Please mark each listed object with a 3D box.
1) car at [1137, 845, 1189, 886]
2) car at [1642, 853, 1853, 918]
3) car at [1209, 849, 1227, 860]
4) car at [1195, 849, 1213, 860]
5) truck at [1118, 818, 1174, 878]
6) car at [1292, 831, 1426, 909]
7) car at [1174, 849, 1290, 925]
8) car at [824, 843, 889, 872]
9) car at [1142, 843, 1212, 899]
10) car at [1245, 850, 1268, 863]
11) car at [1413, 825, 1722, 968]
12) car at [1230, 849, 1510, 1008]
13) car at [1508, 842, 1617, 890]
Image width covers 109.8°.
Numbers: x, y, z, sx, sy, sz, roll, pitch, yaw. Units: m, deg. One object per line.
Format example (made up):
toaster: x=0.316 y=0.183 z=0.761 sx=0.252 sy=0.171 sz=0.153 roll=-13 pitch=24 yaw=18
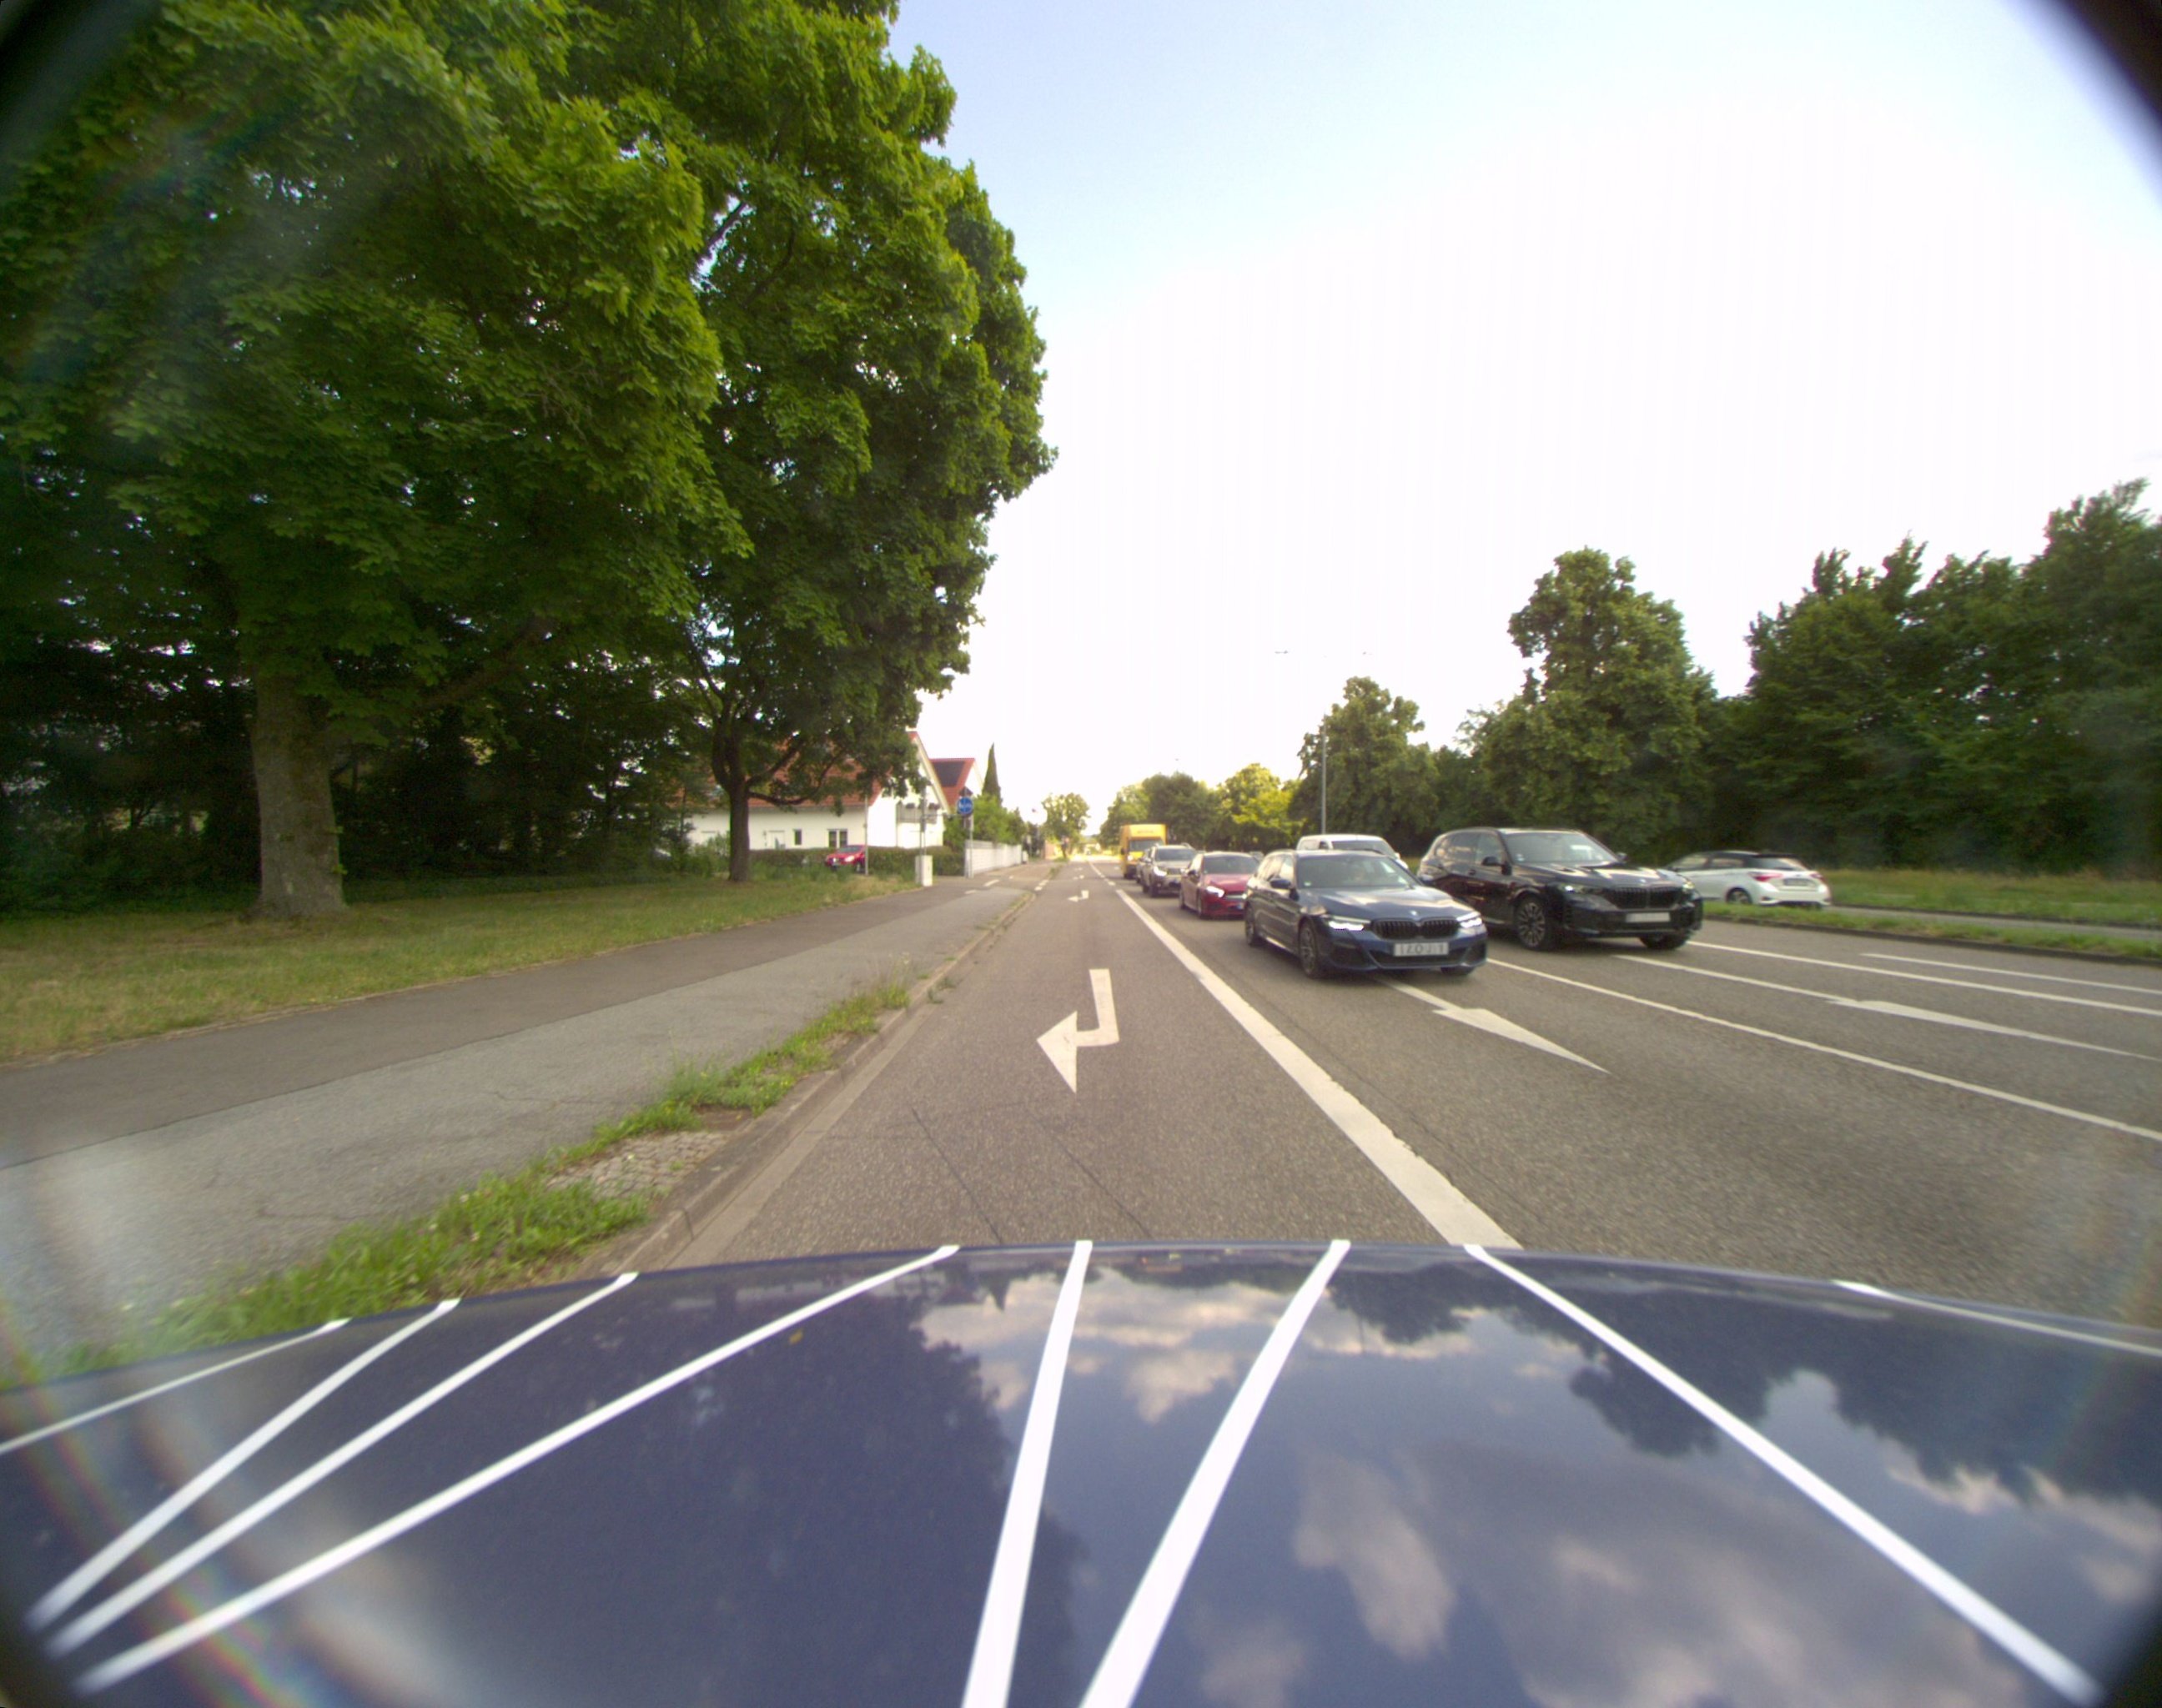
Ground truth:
car: x=3.364 y=0.442 z=31.780 sx=1.727 sy=1.522 sz=3.893 roll=-2 pitch=1 yaw=0
car: x=15.674 y=0.681 z=18.163 sx=1.757 sy=1.300 sz=3.693 roll=1 pitch=1 yaw=1
car: x=18.991 y=0.031 z=105.500 sx=1.672 sy=1.379 sz=4.237 roll=1 pitch=1 yaw=0
car: x=15.965 y=0.021 z=98.915 sx=1.672 sy=1.416 sz=4.237 roll=0 pitch=0 yaw=0
truck: x=3.374 y=-0.330 z=40.971 sx=2.364 sy=2.843 sz=6.965 roll=-2 pitch=1 yaw=0
car: x=7.103 y=0.324 z=19.982 sx=1.770 sy=1.788 sz=4.729 roll=-1 pitch=1 yaw=0
car: x=3.314 y=0.651 z=17.513 sx=1.727 sy=1.454 sz=4.534 roll=-2 pitch=1 yaw=0
car: x=-12.373 y=0.162 z=42.155 sx=1.679 sy=1.521 sz=4.397 roll=0 pitch=0 yaw=10
car: x=3.021 y=0.467 z=24.625 sx=1.727 sy=1.602 sz=4.174 roll=-1 pitch=1 yaw=0
car: x=19.150 y=0.243 z=82.998 sx=1.465 sy=1.362 sz=3.657 roll=0 pitch=0 yaw=-2
car: x=6.983 y=0.486 z=11.634 sx=1.817 sy=1.736 sz=4.548 roll=-1 pitch=1 yaw=0
car: x=3.374 y=0.728 z=10.036 sx=1.801 sy=1.488 sz=4.872 roll=-2 pitch=1 yaw=0
car: x=19.341 y=0.429 z=30.760 sx=1.675 sy=1.783 sz=4.253 roll=-1 pitch=1 yaw=0
